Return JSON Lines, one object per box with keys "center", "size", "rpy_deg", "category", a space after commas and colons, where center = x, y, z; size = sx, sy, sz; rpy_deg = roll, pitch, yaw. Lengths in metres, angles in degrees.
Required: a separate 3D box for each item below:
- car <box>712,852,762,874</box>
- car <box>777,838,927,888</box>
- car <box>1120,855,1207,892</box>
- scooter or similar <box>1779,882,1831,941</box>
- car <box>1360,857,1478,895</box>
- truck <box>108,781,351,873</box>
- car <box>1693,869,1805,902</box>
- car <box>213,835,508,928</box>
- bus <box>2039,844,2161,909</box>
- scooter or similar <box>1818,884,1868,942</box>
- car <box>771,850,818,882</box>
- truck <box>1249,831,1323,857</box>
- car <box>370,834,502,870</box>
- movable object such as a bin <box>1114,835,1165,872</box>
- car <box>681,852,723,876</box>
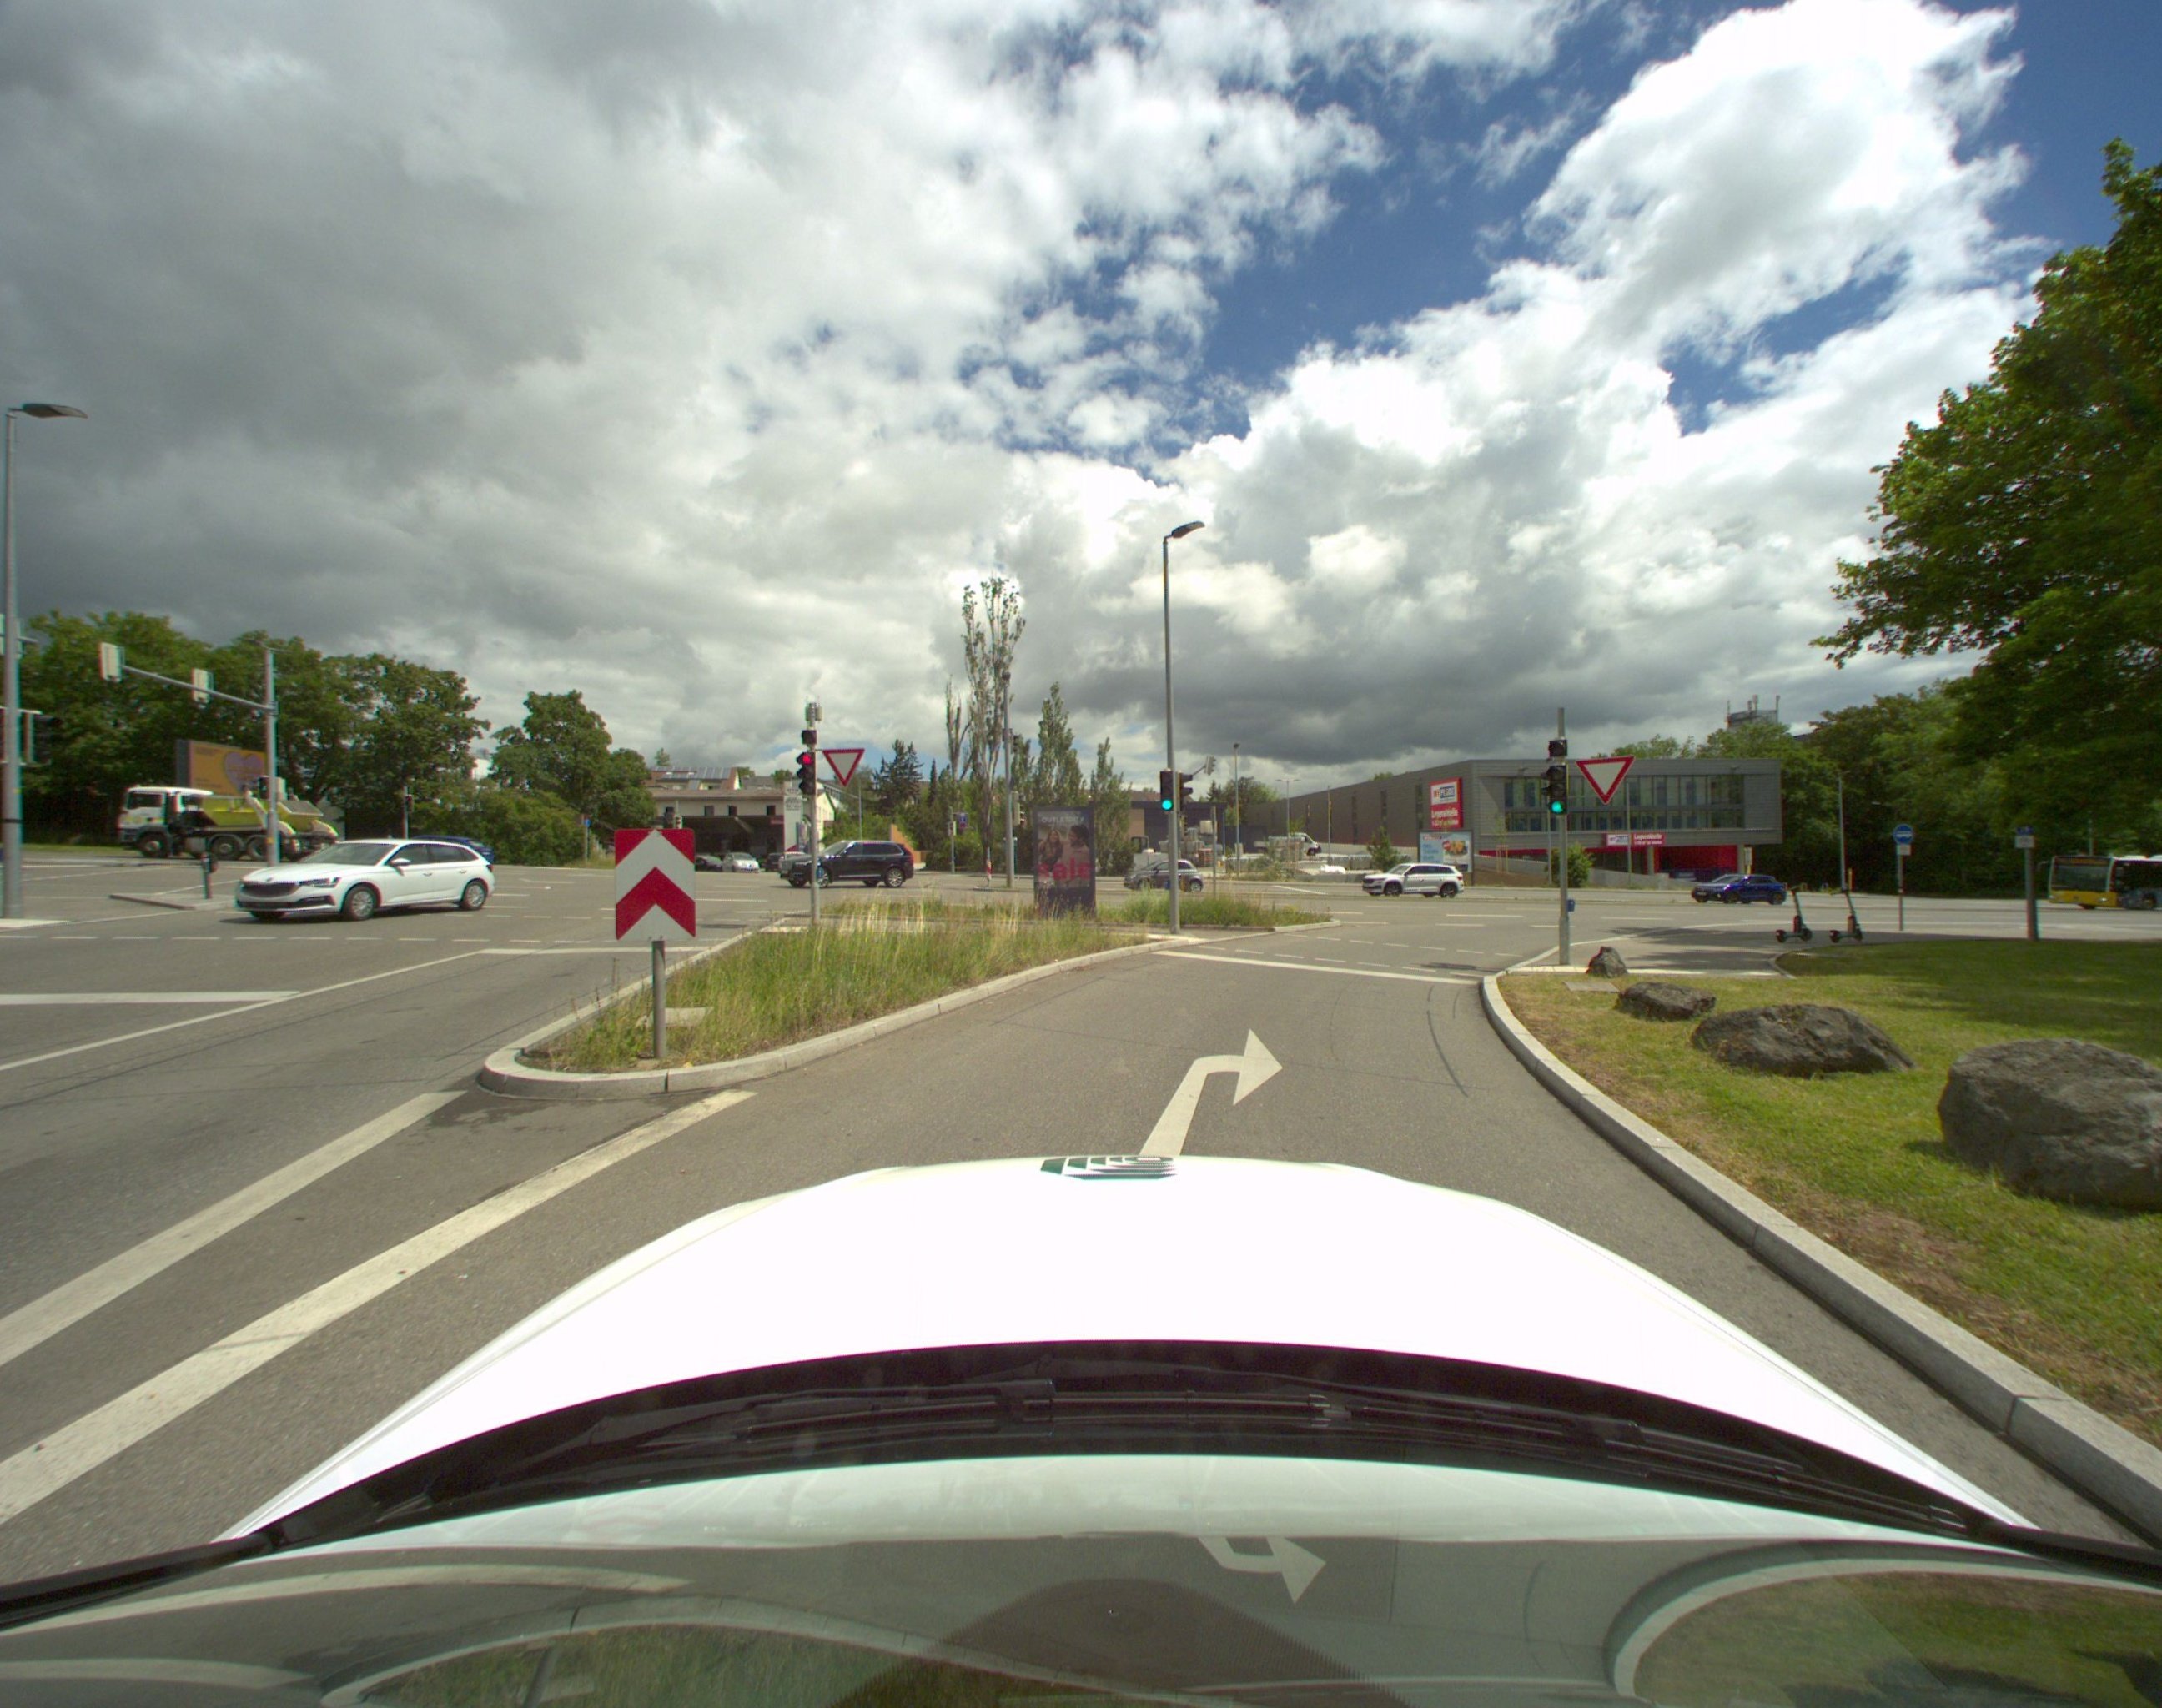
{"center": [-23.008, 0.579, 54.383], "size": [1.706, 1.400, 3.951], "rpy_deg": [1, 0, -44], "category": "car"}
{"center": [-8.434, 0.352, 30.299], "size": [5.009, 1.689, 1.888], "rpy_deg": [2, 0, -43], "category": "car"}
{"center": [3.618, 0.827, 36.060], "size": [3.513, 1.460, 1.580], "rpy_deg": [-2, 1, -11], "category": "car"}
{"center": [16.066, 1.260, 18.065], "size": [1.194, 1.264, 0.528], "rpy_deg": [2, -2, -32], "category": "scooter or similar"}
{"center": [15.711, 1.028, 37.907], "size": [4.883, 1.658, 1.728], "rpy_deg": [1, 0, -9], "category": "car"}
{"center": [-37.560, -1.195, 36.201], "size": [6.944, 3.578, 2.837], "rpy_deg": [-3, 0, -10], "category": "truck"}
{"center": [33.127, 1.537, 40.443], "size": [4.379, 1.511, 1.807], "rpy_deg": [1, 0, -7], "category": "car"}
{"center": [-13.407, 0.444, 15.593], "size": [1.611, 1.469, 4.380], "rpy_deg": [2, 0, 2], "category": "car"}
{"center": [58.689, 1.280, 44.786], "size": [10.080, 3.285, 2.817], "rpy_deg": [2, 0, -8], "category": "bus"}
{"center": [17.326, 1.325, 18.521], "size": [1.194, 1.264, 0.528], "rpy_deg": [2, -2, -32], "category": "scooter or similar"}
{"center": [-19.737, 0.812, 55.977], "size": [2.008, 2.013, 3.957], "rpy_deg": [-3, 0, -34], "category": "car"}
{"center": [19.396, -0.961, 77.354], "size": [6.525, 2.145, 2.004], "rpy_deg": [-3, 0, 6], "category": "truck"}
{"center": [-27.178, -0.072, 34.424], "size": [3.986, 1.400, 1.691], "rpy_deg": [1, 0, -10], "category": "car"}
{"center": [4.214, -0.019, 58.268], "size": [3.383, 2.538, 2.158], "rpy_deg": [1, 0, 9], "category": "movable object such as a bin"}
{"center": [-27.712, 0.694, 59.487], "size": [1.750, 1.651, 3.809], "rpy_deg": [1, 1, -41], "category": "car"}
